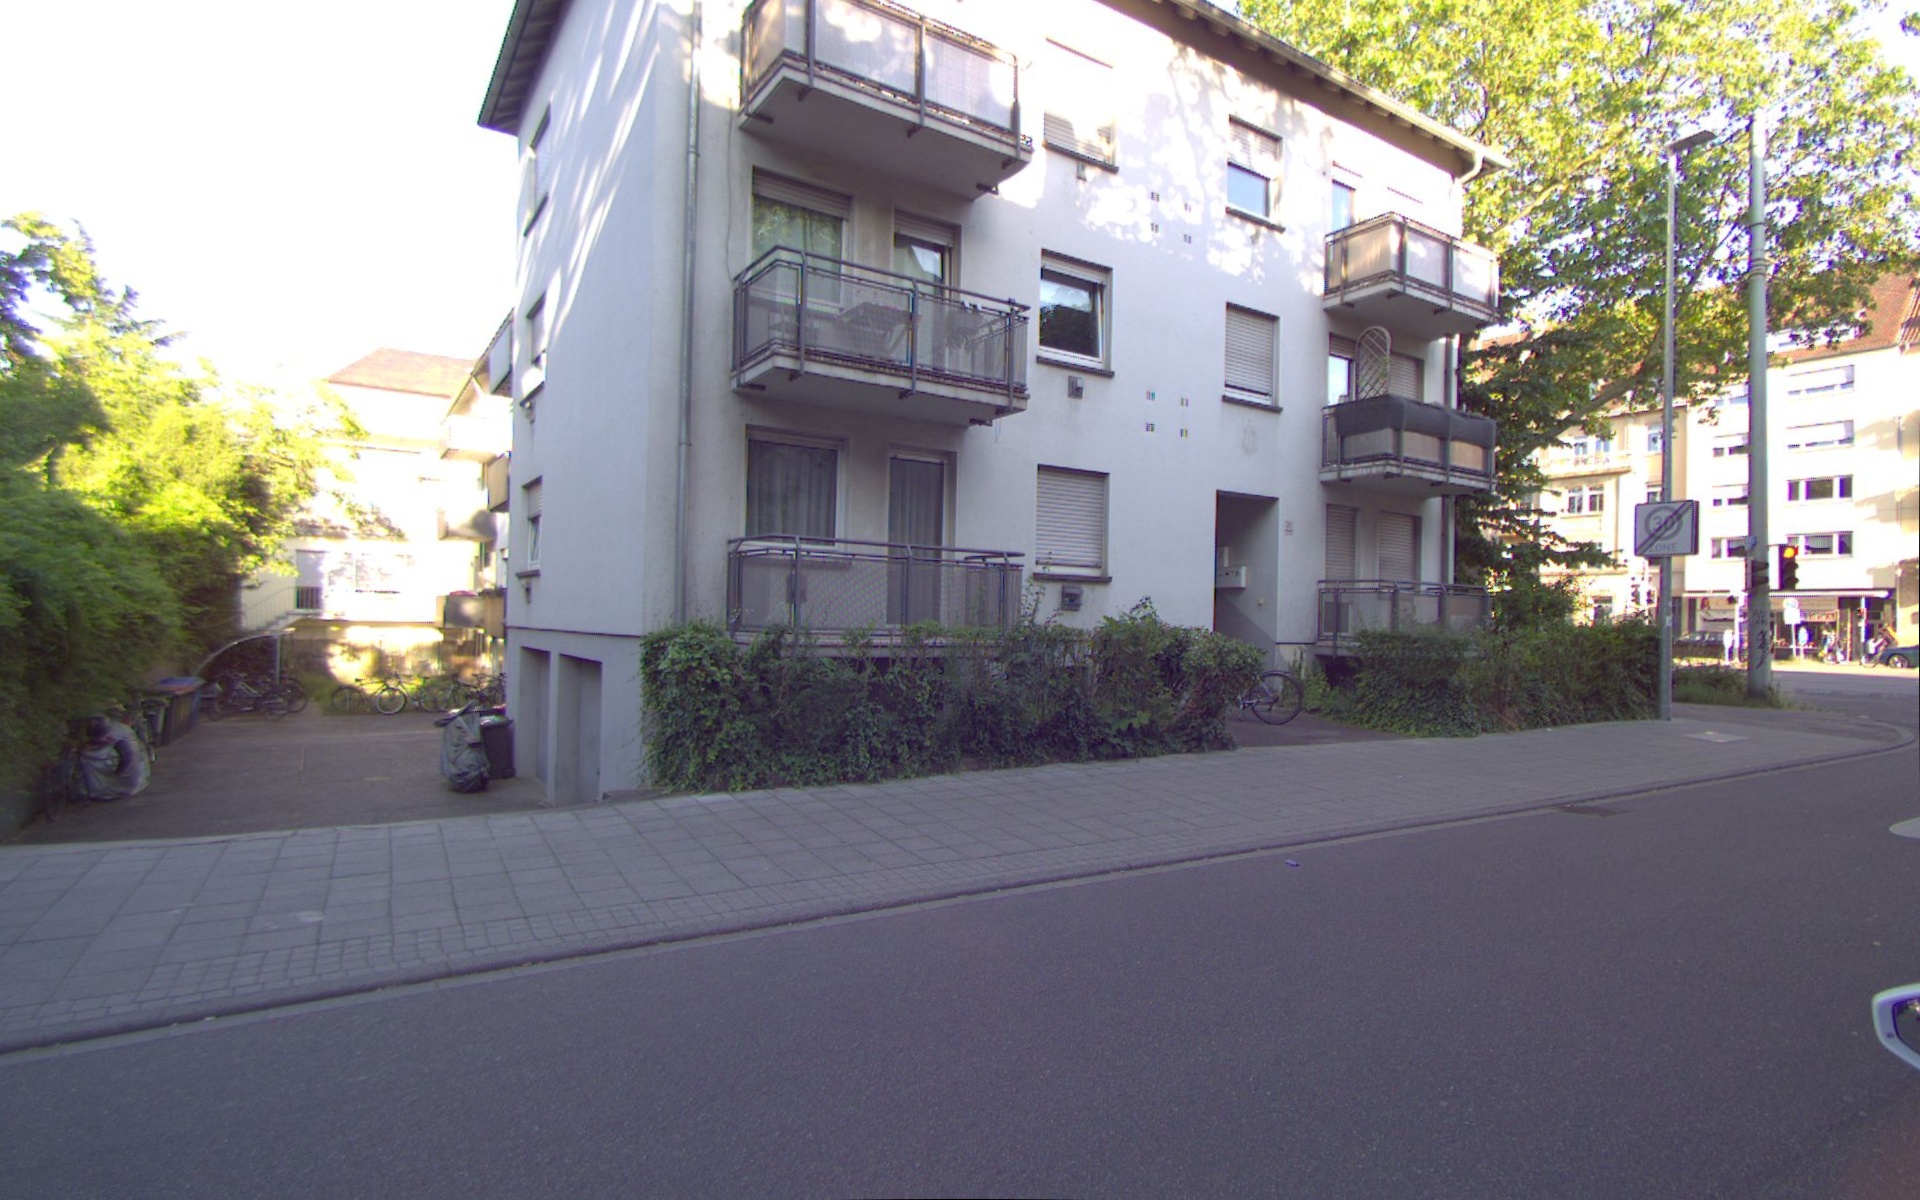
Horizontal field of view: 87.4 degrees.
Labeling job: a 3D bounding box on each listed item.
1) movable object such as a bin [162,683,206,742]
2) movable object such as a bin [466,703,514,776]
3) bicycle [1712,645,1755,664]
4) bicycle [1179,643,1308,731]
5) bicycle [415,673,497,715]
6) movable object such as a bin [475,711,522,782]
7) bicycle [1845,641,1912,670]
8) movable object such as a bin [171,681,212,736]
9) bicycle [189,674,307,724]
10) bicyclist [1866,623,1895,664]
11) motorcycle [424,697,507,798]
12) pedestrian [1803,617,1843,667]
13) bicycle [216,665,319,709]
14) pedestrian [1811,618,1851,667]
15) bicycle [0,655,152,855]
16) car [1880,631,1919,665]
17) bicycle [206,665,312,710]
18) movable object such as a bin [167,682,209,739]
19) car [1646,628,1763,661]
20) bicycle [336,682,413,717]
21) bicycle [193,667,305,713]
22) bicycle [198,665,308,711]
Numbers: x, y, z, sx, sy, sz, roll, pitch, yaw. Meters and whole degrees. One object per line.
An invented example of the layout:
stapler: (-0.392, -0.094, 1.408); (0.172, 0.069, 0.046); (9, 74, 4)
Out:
movable object such as a bin: (-15.487, 2.232, 20.058); (0.606, 1.129, 0.795); (1, -3, -33)
movable object such as a bin: (-7.915, 2.334, 16.906); (0.606, 1.129, 0.795); (1, -3, -33)
bicycle: (38.426, 2.688, 49.899); (0.630, 0.888, 1.607); (1, -1, -34)
bicycle: (3.830, 1.155, 13.575); (1.590, 1.022, 0.517); (3, 1, 20)
bicycle: (-13.910, 2.581, 27.750); (1.982, 1.085, 0.561); (2, -4, -30)
movable object such as a bin: (-7.399, 2.332, 16.094); (0.606, 1.051, 0.534); (1, -3, -34)
bicycle: (43.306, 2.591, 47.401); (0.630, 1.263, 2.243); (1, -1, -33)
movable object such as a bin: (-16.361, 2.295, 21.390); (0.606, 1.129, 0.795); (1, -3, -33)
bicycle: (-17.334, 2.390, 24.530); (2.268, 1.148, 0.689); (2, -4, -30)
bicyclist: (43.362, 2.049, 47.338); (0.630, 1.884, 0.886); (1, -1, -34)
motorcycle: (-7.403, 2.157, 15.012); (0.739, 1.313, 1.563); (2, -2, -41)
pedestrian: (44.798, 2.160, 52.124); (1.049, 2.497, 1.338); (1, 0, -34)
bicycle: (-19.641, 2.459, 28.545); (2.311, 1.192, 0.689); (2, -4, -30)
pedestrian: (45.643, 2.198, 52.665); (1.049, 2.497, 1.338); (1, 0, -34)
bicycle: (-10.600, 1.662, 11.984); (0.961, 1.917, 4.156); (1, -2, -32)
car: (41.308, 2.039, 41.835); (1.648, 1.367, 4.193); (1, -1, -35)
bicycle: (-19.371, 2.403, 27.821); (2.311, 1.192, 0.689); (2, -4, -30)
movable object such as a bin: (-15.928, 2.265, 20.729); (0.606, 1.129, 0.795); (1, -3, -33)
car: (34.059, 2.017, 46.037); (1.647, 1.378, 4.007); (1, -1, -35)
bicycle: (-15.564, 2.633, 26.750); (1.734, 0.890, 0.561); (2, -4, -30)
bicycle: (-18.598, 2.333, 26.350); (2.311, 1.148, 0.689); (2, -4, -30)
bicycle: (-19.024, 2.353, 27.096); (2.311, 1.192, 0.689); (2, -4, -30)
